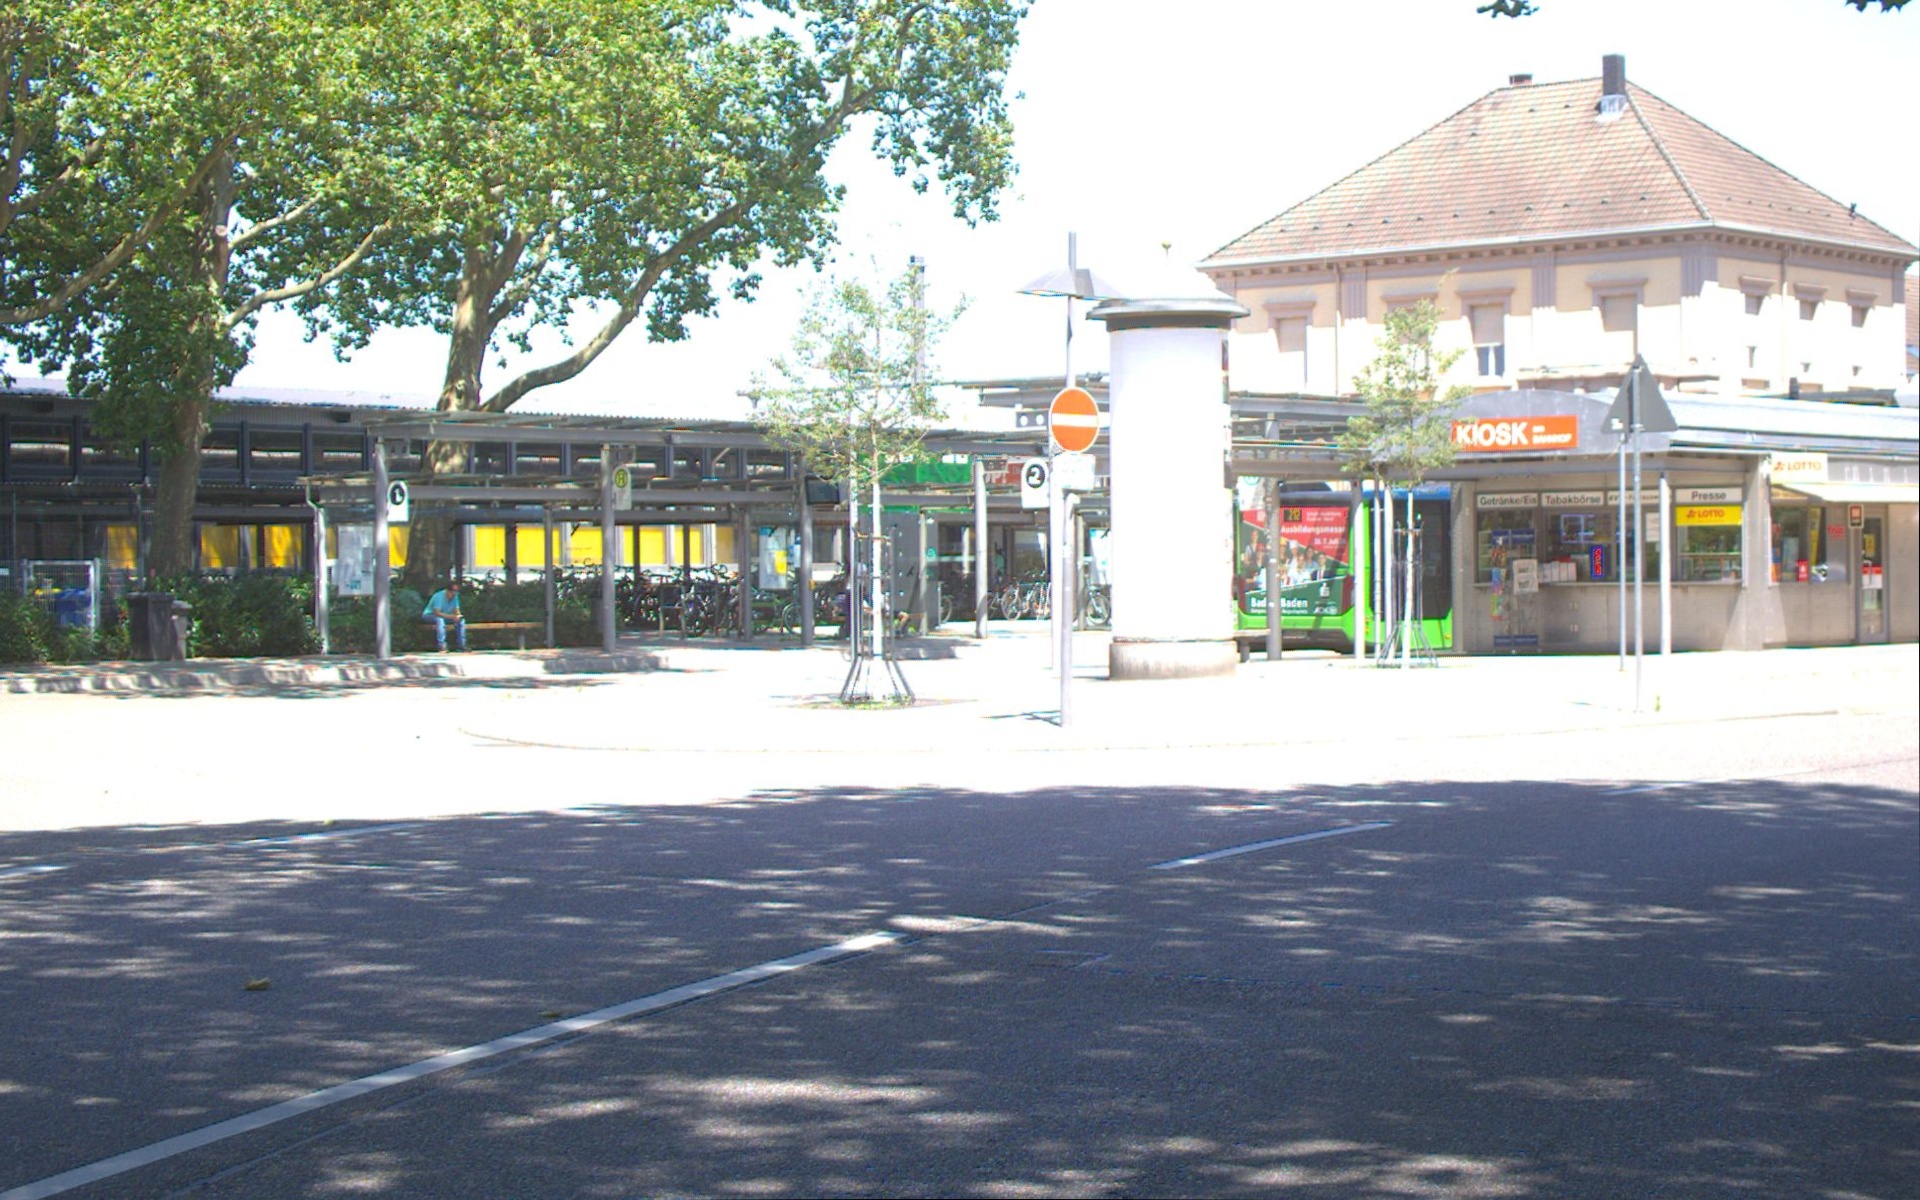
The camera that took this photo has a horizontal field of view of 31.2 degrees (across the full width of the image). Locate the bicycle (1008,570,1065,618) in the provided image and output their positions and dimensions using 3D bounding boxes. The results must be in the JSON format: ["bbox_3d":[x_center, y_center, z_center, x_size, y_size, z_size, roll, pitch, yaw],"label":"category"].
[{"bbox_3d":[1.747,-0.139,79.014,1.384,1.090,0.385,0,1,42],"label":"bicycle"}]

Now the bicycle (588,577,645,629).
[{"bbox_3d":[-7.336,0.062,73.366,1.384,1.090,0.385,0,-2,42],"label":"bicycle"}]

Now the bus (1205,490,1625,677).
[{"bbox_3d":[9.495,-0.385,69.938,2.167,3.514,12.194,0,1,41],"label":"bus"}]

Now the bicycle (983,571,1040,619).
[{"bbox_3d":[1.179,-0.108,78.364,1.384,1.090,0.385,0,1,42],"label":"bicycle"}]

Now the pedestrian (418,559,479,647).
[{"bbox_3d":[-8.626,0.049,57.982,0.606,1.459,0.820,0,0,37],"label":"pedestrian"}]

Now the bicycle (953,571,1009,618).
[{"bbox_3d":[0.478,-0.130,80.152,1.384,1.090,0.385,0,0,42],"label":"bicycle"}]

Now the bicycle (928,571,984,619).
[{"bbox_3d":[-0.103,-0.111,79.515,1.384,1.090,0.385,0,1,42],"label":"bicycle"}]

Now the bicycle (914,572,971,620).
[{"bbox_3d":[-0.407,-0.102,79.178,1.384,1.090,0.385,0,1,42],"label":"bicycle"}]

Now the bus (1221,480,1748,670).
[{"bbox_3d":[9.683,-0.425,61.168,2.681,3.030,13.861,0,0,39],"label":"bus"}]

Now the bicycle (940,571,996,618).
[{"bbox_3d":[0.186,-0.126,79.823,1.384,1.090,0.385,0,0,42],"label":"bicycle"}]

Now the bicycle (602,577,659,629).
[{"bbox_3d":[-7.070,0.070,73.702,1.384,1.090,0.385,0,-2,42],"label":"bicycle"}]

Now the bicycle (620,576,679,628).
[{"bbox_3d":[-6.503,0.048,72.082,1.384,1.090,0.385,0,-2,42],"label":"bicycle"}]

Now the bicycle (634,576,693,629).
[{"bbox_3d":[-6.251,0.055,72.403,1.384,1.090,0.385,0,-2,42],"label":"bicycle"}]

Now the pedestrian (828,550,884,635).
[{"bbox_3d":[-1.973,-0.143,65.421,0.820,1.612,0.768,0,0,22],"label":"pedestrian"}]

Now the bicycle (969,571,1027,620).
[{"bbox_3d":[0.860,-0.105,77.990,1.404,1.096,0.366,0,1,42],"label":"bicycle"}]

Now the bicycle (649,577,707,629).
[{"bbox_3d":[-5.969,0.063,72.707,1.384,1.090,0.385,0,-2,42],"label":"bicycle"}]

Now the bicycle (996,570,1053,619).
[{"bbox_3d":[1.468,-0.125,78.693,1.384,1.090,0.385,0,1,42],"label":"bicycle"}]
